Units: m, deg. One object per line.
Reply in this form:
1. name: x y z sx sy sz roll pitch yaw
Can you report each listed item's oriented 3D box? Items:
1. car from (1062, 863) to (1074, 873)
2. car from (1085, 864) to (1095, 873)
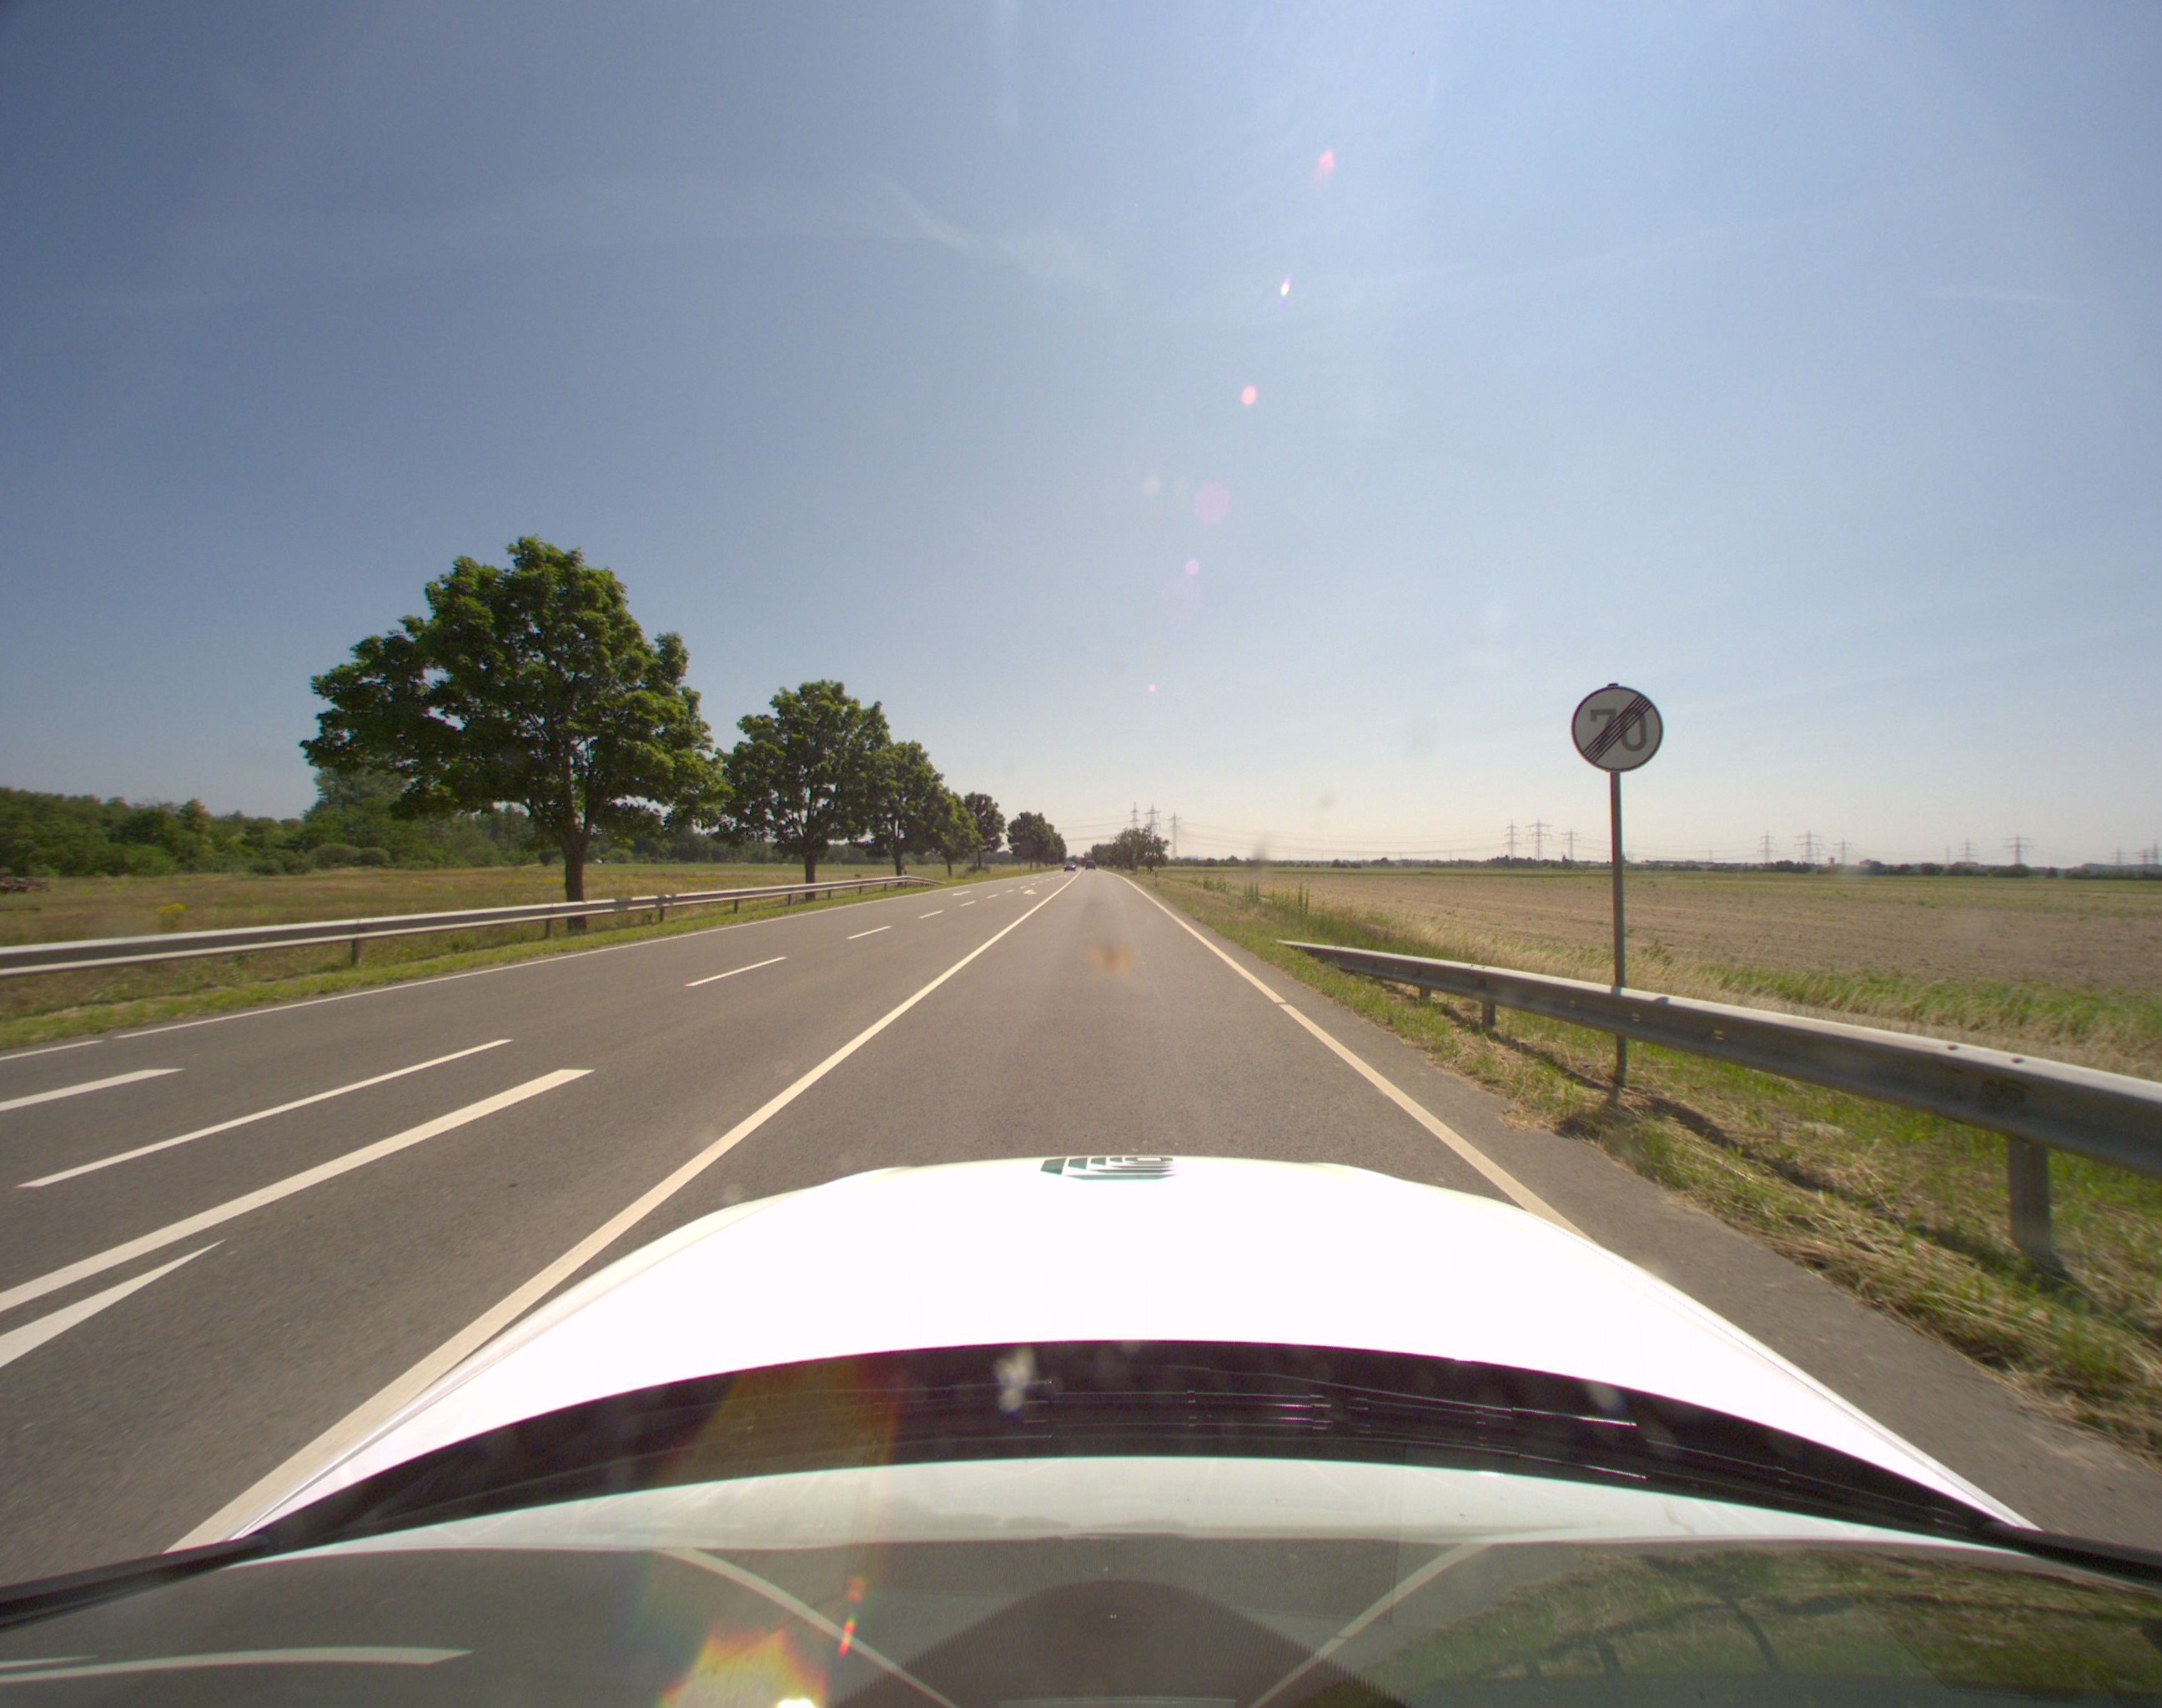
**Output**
1. car: -2.041 2.146 125.510 1.734 1.473 4.617 -1 -1 0
2. car: 1.639 2.589 149.545 1.879 1.518 4.038 2 -1 0
